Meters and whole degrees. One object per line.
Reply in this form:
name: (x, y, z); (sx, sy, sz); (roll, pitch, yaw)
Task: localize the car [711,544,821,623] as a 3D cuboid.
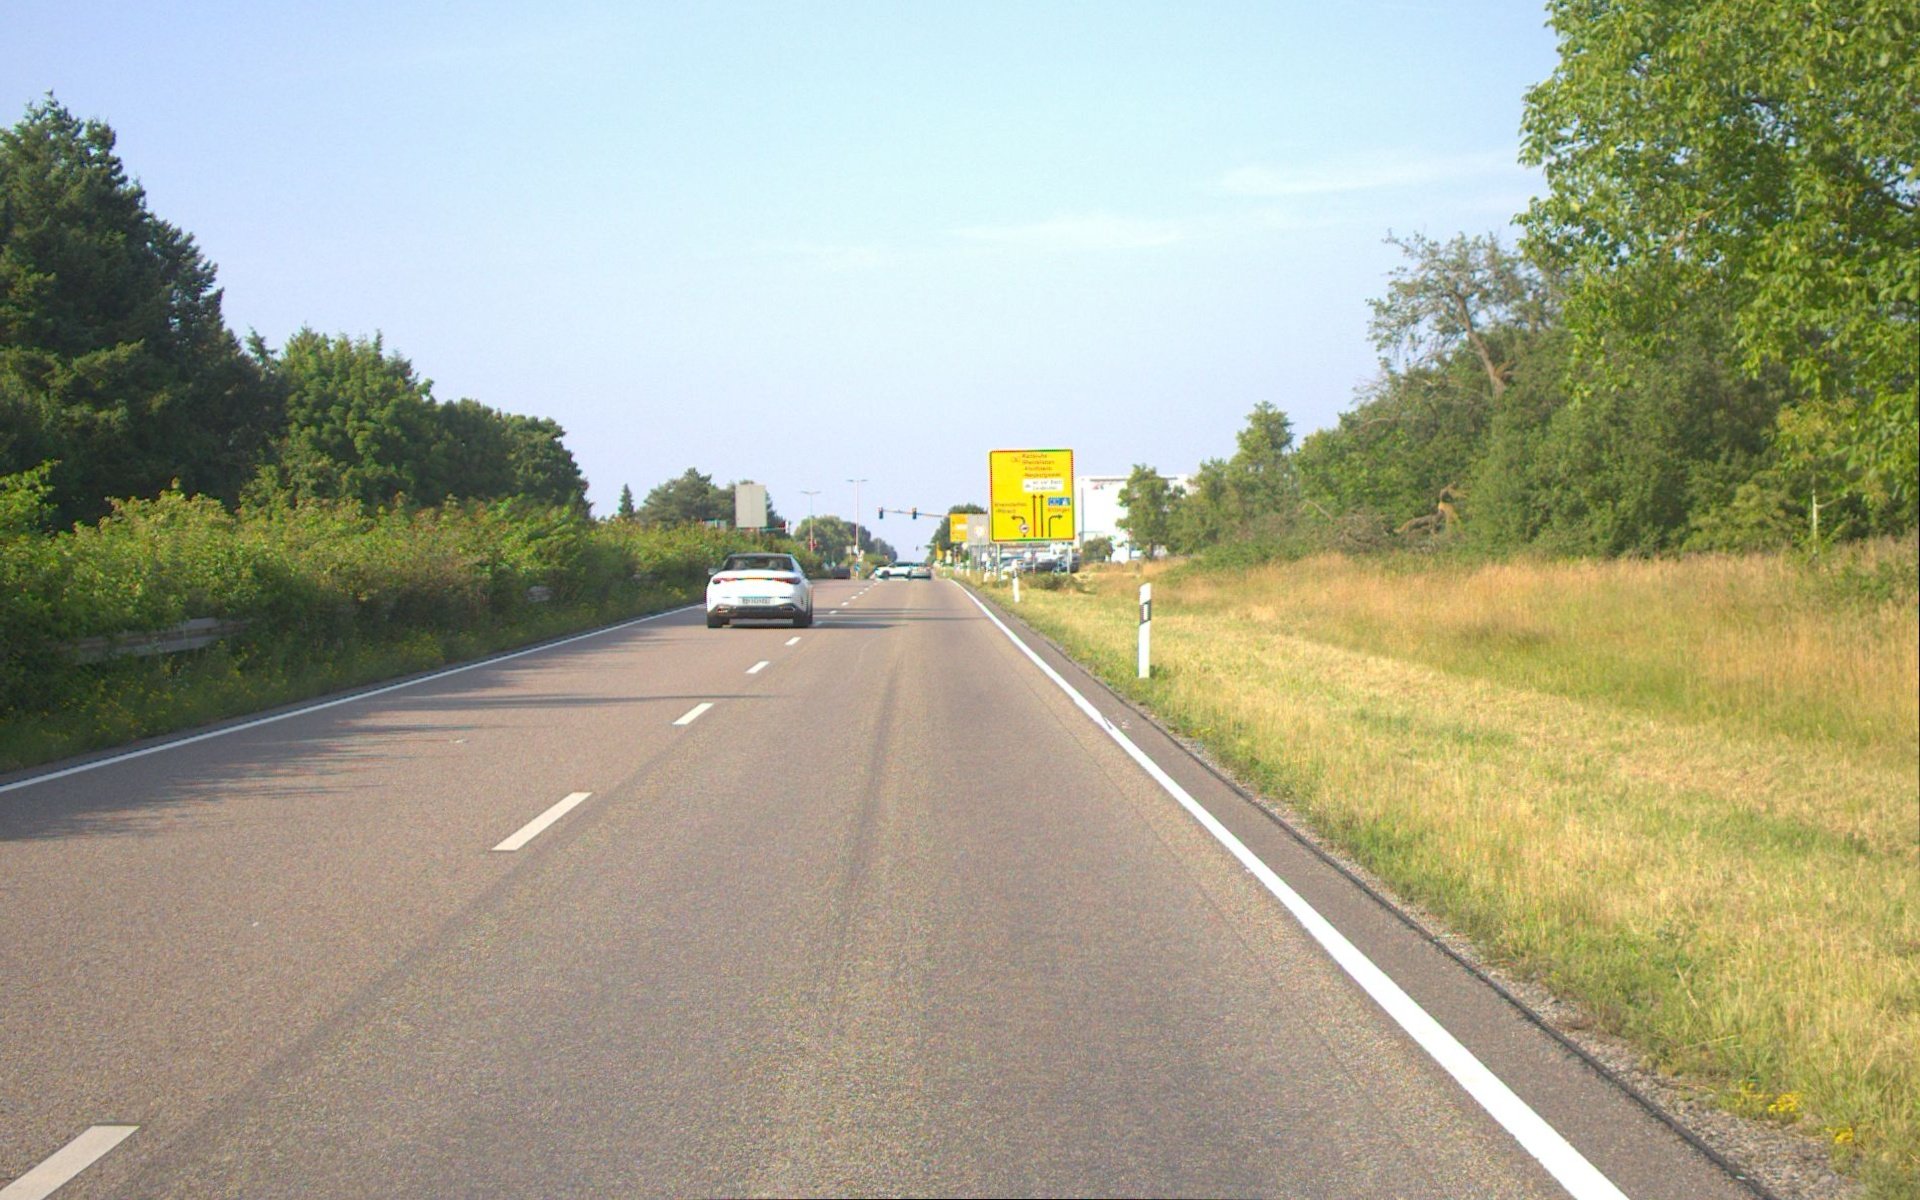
car: (-3.584, -0.320, 64.064); (1.909, 1.417, 4.000); (0, 1, -1)
